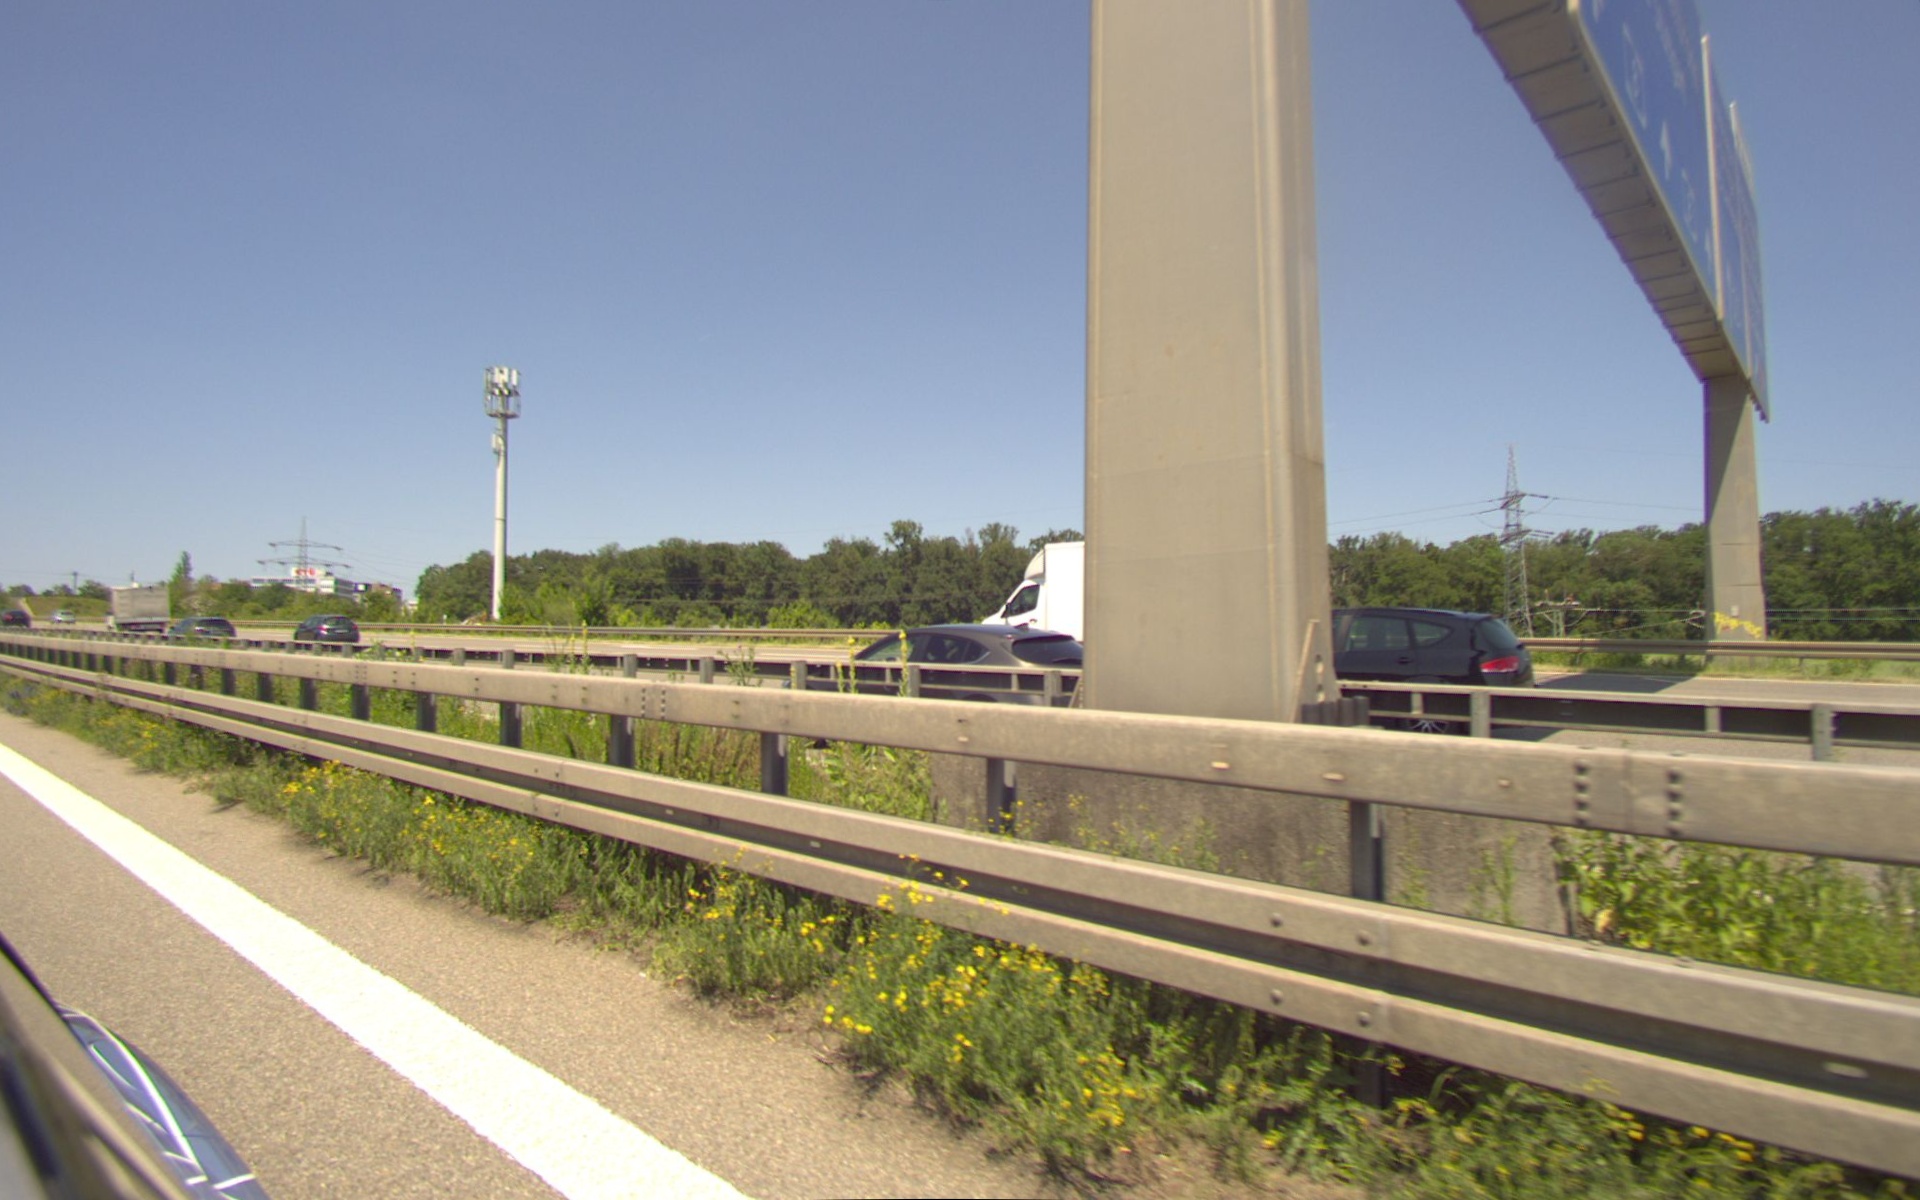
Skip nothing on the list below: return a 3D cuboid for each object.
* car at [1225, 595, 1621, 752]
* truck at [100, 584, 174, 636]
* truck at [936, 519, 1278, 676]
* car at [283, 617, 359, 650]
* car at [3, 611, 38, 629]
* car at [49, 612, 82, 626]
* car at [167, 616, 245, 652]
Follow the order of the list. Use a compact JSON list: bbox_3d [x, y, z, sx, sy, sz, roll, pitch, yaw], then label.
[{"bbox_3d":[5.419,0.769,12.132,3.998,1.573,1.724,-1,-1,41],"label":"car"},{"bbox_3d":[-54.977,0.645,67.530,7.652,3.302,2.353,0,0,39],"label":"truck"},{"bbox_3d":[3.194,0.018,24.073,8.108,3.191,2.296,-1,-1,41],"label":"truck"},{"bbox_3d":[-29.418,1.500,46.578,3.998,1.431,1.886,-1,-1,41],"label":"car"},{"bbox_3d":[-87.938,1.865,94.710,4.907,1.668,1.828,0,0,41],"label":"car"},{"bbox_3d":[-98.802,2.064,111.783,4.367,1.543,2.084,0,0,39],"label":"car"},{"bbox_3d":[-33.497,1.477,44.902,4.856,1.475,1.771,-1,-1,41],"label":"car"}]
